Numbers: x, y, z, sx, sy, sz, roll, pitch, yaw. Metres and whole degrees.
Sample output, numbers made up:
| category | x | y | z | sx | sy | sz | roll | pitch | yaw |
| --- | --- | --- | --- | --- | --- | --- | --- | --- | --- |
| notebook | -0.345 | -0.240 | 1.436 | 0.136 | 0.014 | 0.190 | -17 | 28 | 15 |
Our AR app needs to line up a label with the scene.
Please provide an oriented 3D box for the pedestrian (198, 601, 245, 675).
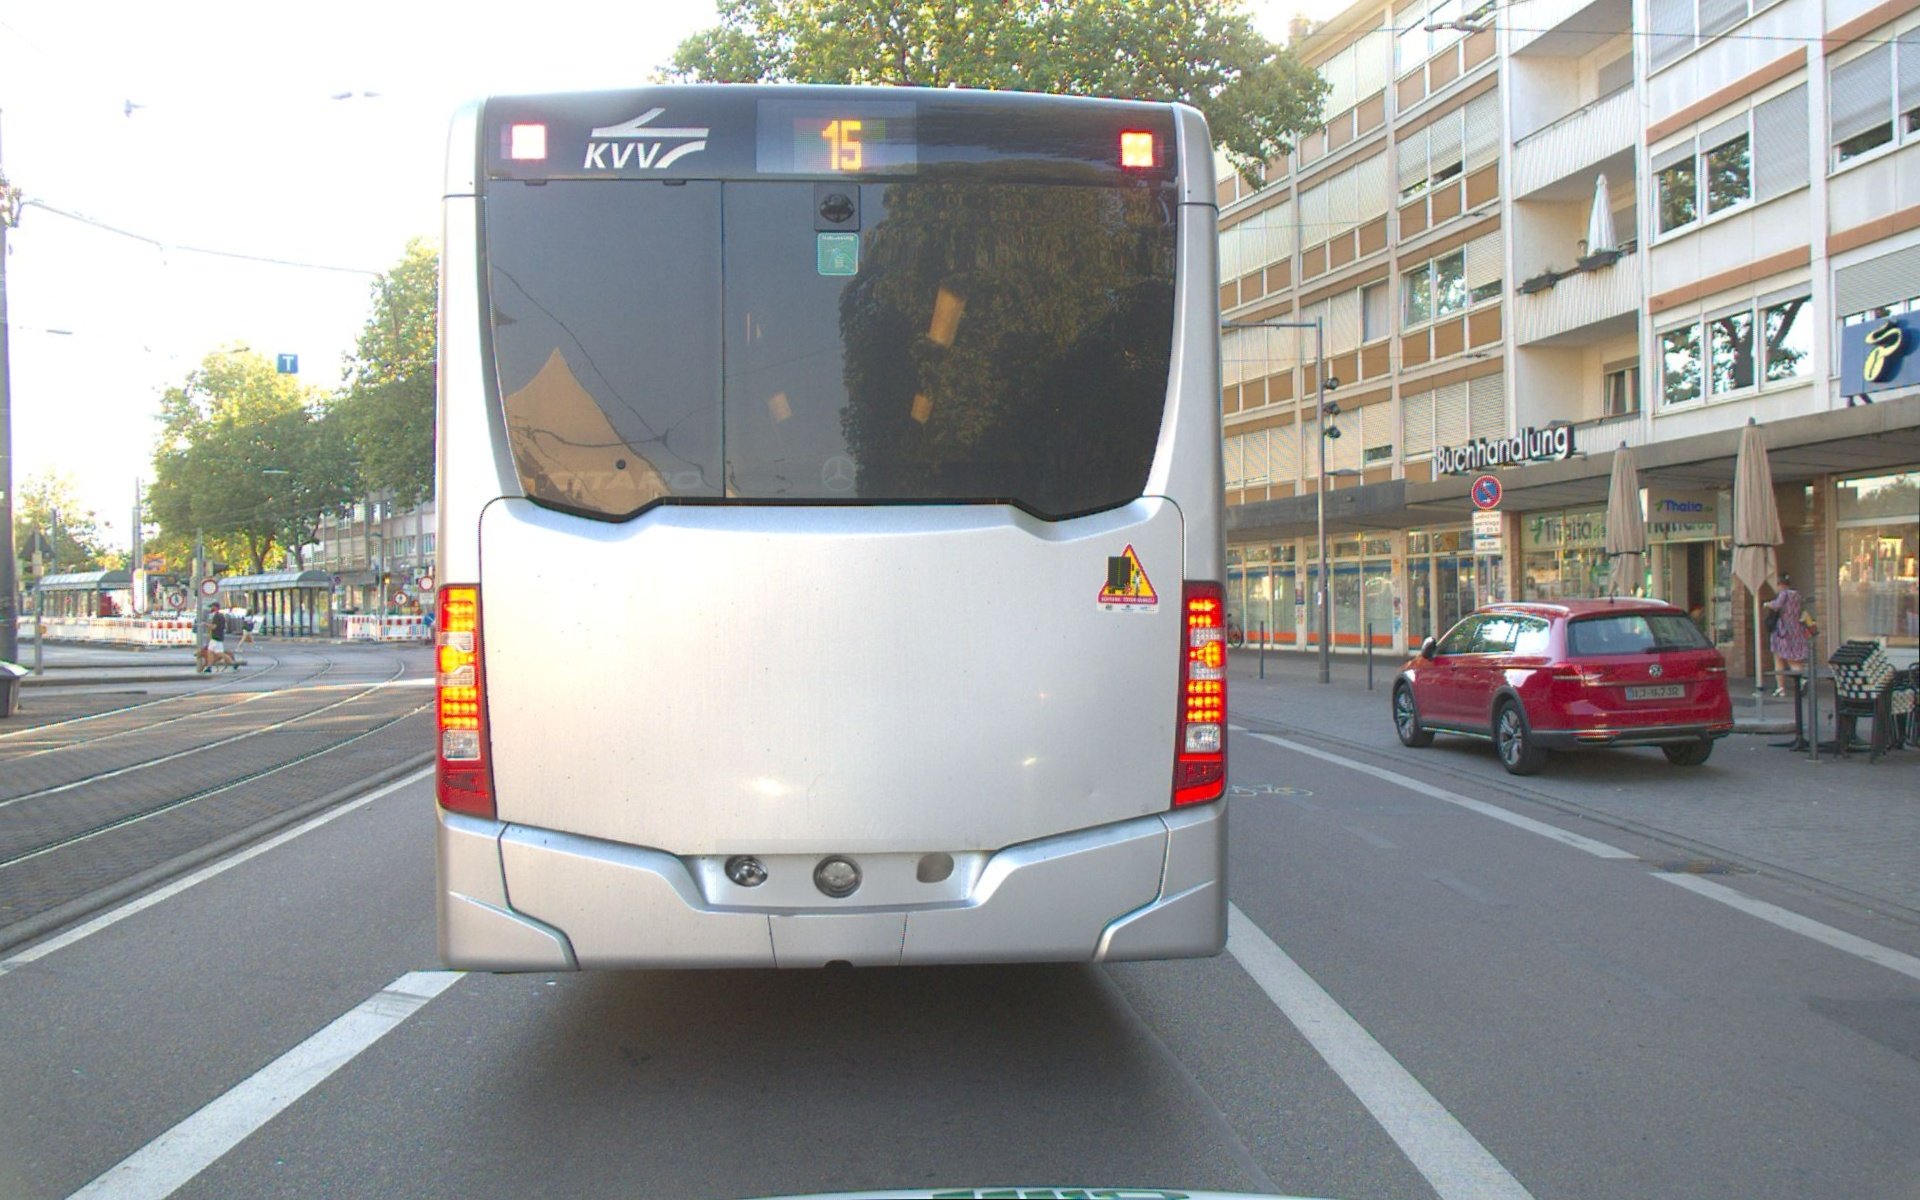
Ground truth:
| category | x | y | z | sx | sy | sz | roll | pitch | yaw |
| --- | --- | --- | --- | --- | --- | --- | --- | --- | --- |
| pedestrian | -17.970 | 0.919 | 40.231 | 0.878 | 1.758 | 0.517 | -1 | 0 | 1 |

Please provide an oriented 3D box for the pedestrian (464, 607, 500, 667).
| category | x | y | z | sx | sy | sz | roll | pitch | yaw |
| --- | --- | --- | --- | --- | --- | --- | --- | --- | --- |
| pedestrian | -11.925 | 0.910 | 41.269 | 0.754 | 1.475 | 0.636 | 1 | -1 | -10 |

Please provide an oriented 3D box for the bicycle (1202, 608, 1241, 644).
| category | x | y | z | sx | sy | sz | roll | pitch | yaw |
| --- | --- | --- | --- | --- | --- | --- | --- | --- | --- |
| bicycle | 7.223 | 0.712 | 45.684 | 0.406 | 0.961 | 1.431 | -1 | 0 | -20 |

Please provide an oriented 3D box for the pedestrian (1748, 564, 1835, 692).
| category | x | y | z | sx | sy | sz | roll | pitch | yaw |
| --- | --- | --- | --- | --- | --- | --- | --- | --- | --- |
| pedestrian | 10.932 | 0.359 | 21.762 | 0.637 | 1.620 | 0.788 | -3 | 0 | -6 |

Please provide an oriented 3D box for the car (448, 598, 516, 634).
| category | x | y | z | sx | sy | sz | roll | pitch | yaw |
| --- | --- | --- | --- | --- | --- | --- | --- | --- | --- |
| car | -25.374 | 0.848 | 87.794 | 1.982 | 1.823 | 3.940 | 1 | -1 | -41 |

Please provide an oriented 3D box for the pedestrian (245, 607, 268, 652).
| category | x | y | z | sx | sy | sz | roll | pitch | yaw |
| --- | --- | --- | --- | --- | --- | --- | --- | --- | --- |
| pedestrian | -26.179 | 1.096 | 61.520 | 0.653 | 1.685 | 0.436 | -1 | -1 | -44 |

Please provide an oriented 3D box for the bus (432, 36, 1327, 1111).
| category | x | y | z | sx | sy | sz | roll | pitch | yaw |
| --- | --- | --- | --- | --- | --- | --- | --- | --- | --- |
| bus | -0.429 | -0.062 | 9.802 | 2.578 | 3.081 | 9.992 | 0 | 0 | -3 |

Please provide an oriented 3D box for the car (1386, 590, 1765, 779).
| category | x | y | z | sx | sy | sz | roll | pitch | yaw |
| --- | --- | --- | --- | --- | --- | --- | --- | --- | --- |
| car | 5.692 | 0.704 | 15.933 | 1.735 | 1.508 | 4.299 | -2 | 0 | -4 |
